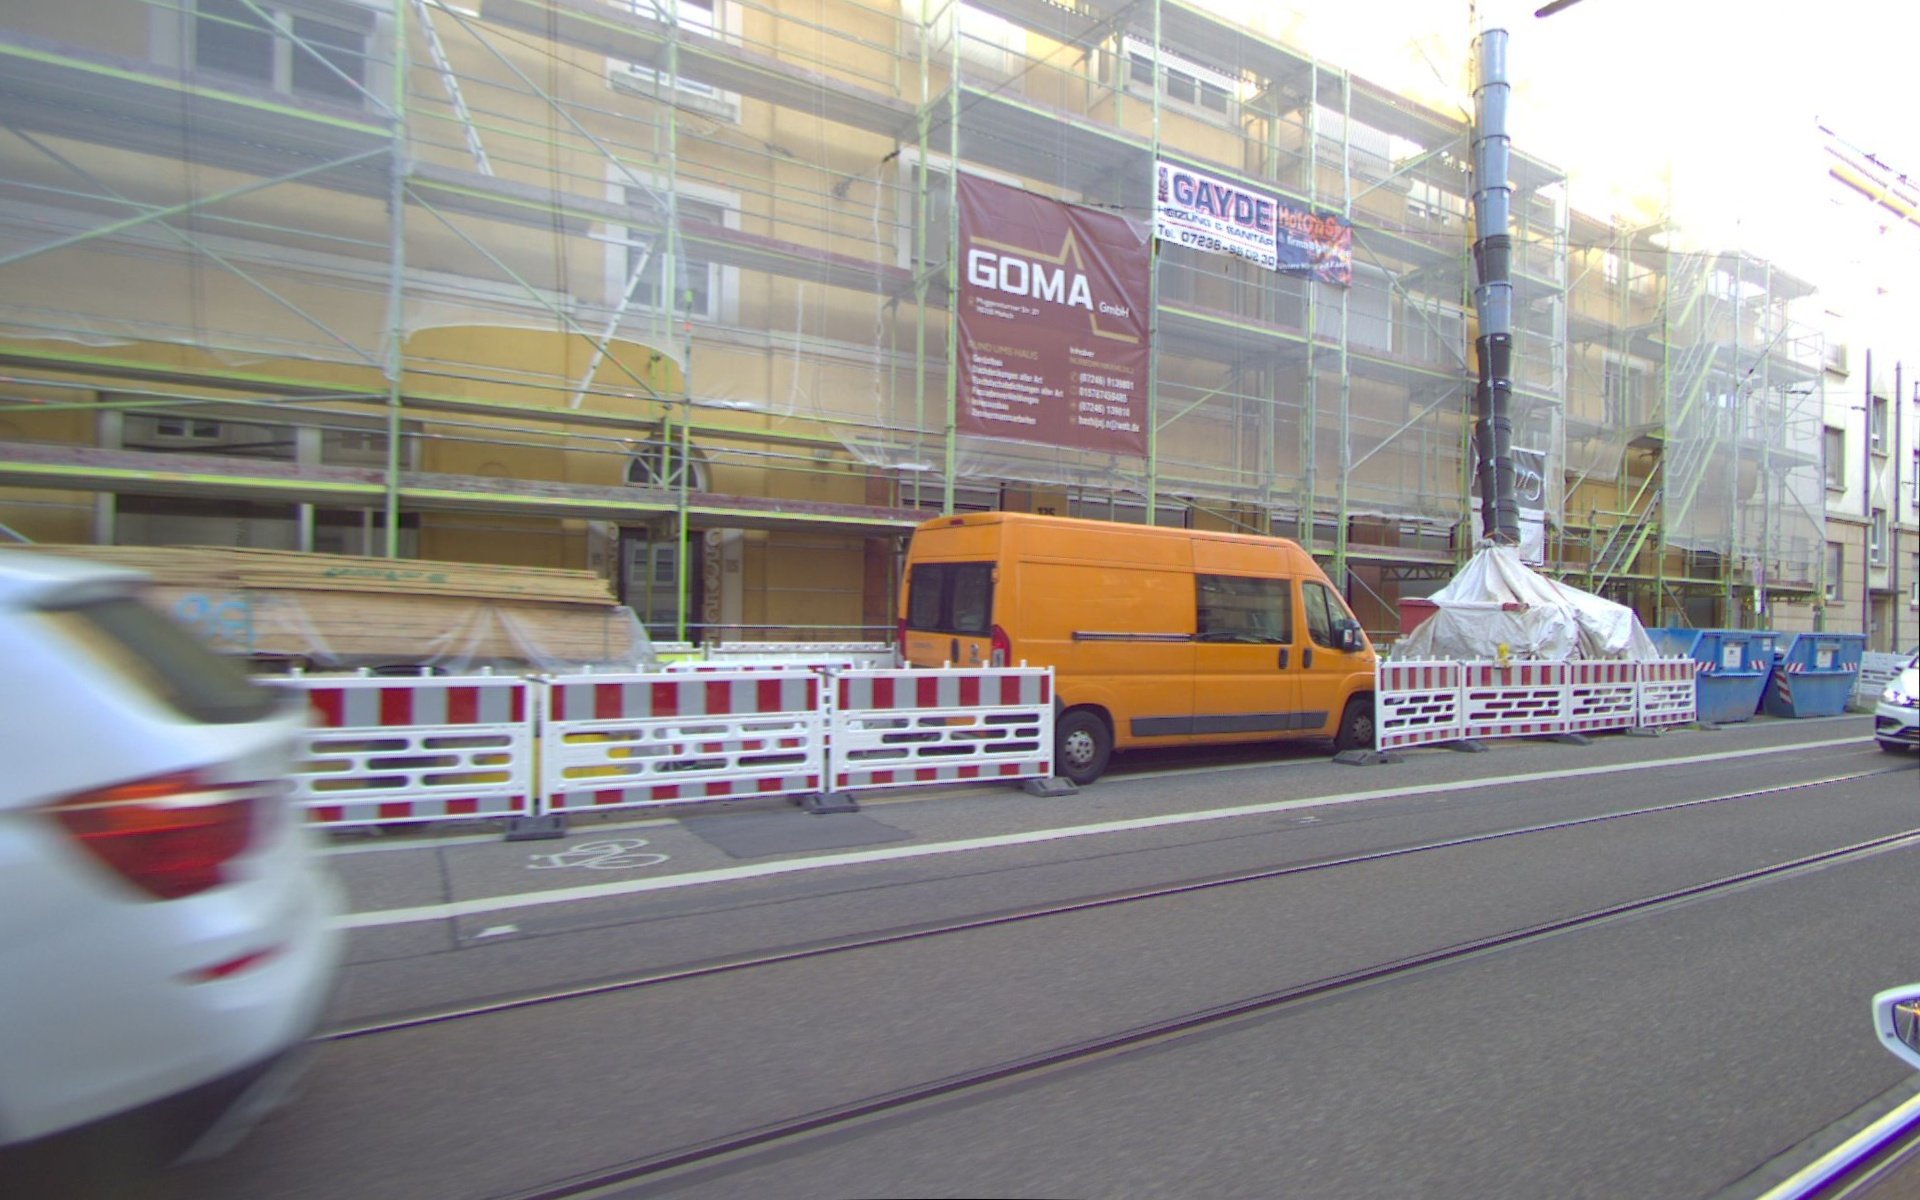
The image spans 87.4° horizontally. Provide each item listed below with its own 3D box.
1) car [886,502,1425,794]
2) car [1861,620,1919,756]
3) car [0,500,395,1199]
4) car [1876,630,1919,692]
[{"bbox_3d":[2.311,0.495,11.036,5.930,2.501,2.110,1,-2,-30],"label":"car"},{"bbox_3d":[13.225,1.071,12.614,4.155,1.589,1.811,1,-2,-33],"label":"car"},{"bbox_3d":[-3.446,0.622,1.742,4.245,1.628,1.758,1,-2,-31],"label":"car"},{"bbox_3d":[24.935,1.562,25.243,3.953,1.434,1.691,2,2,-30],"label":"car"}]
